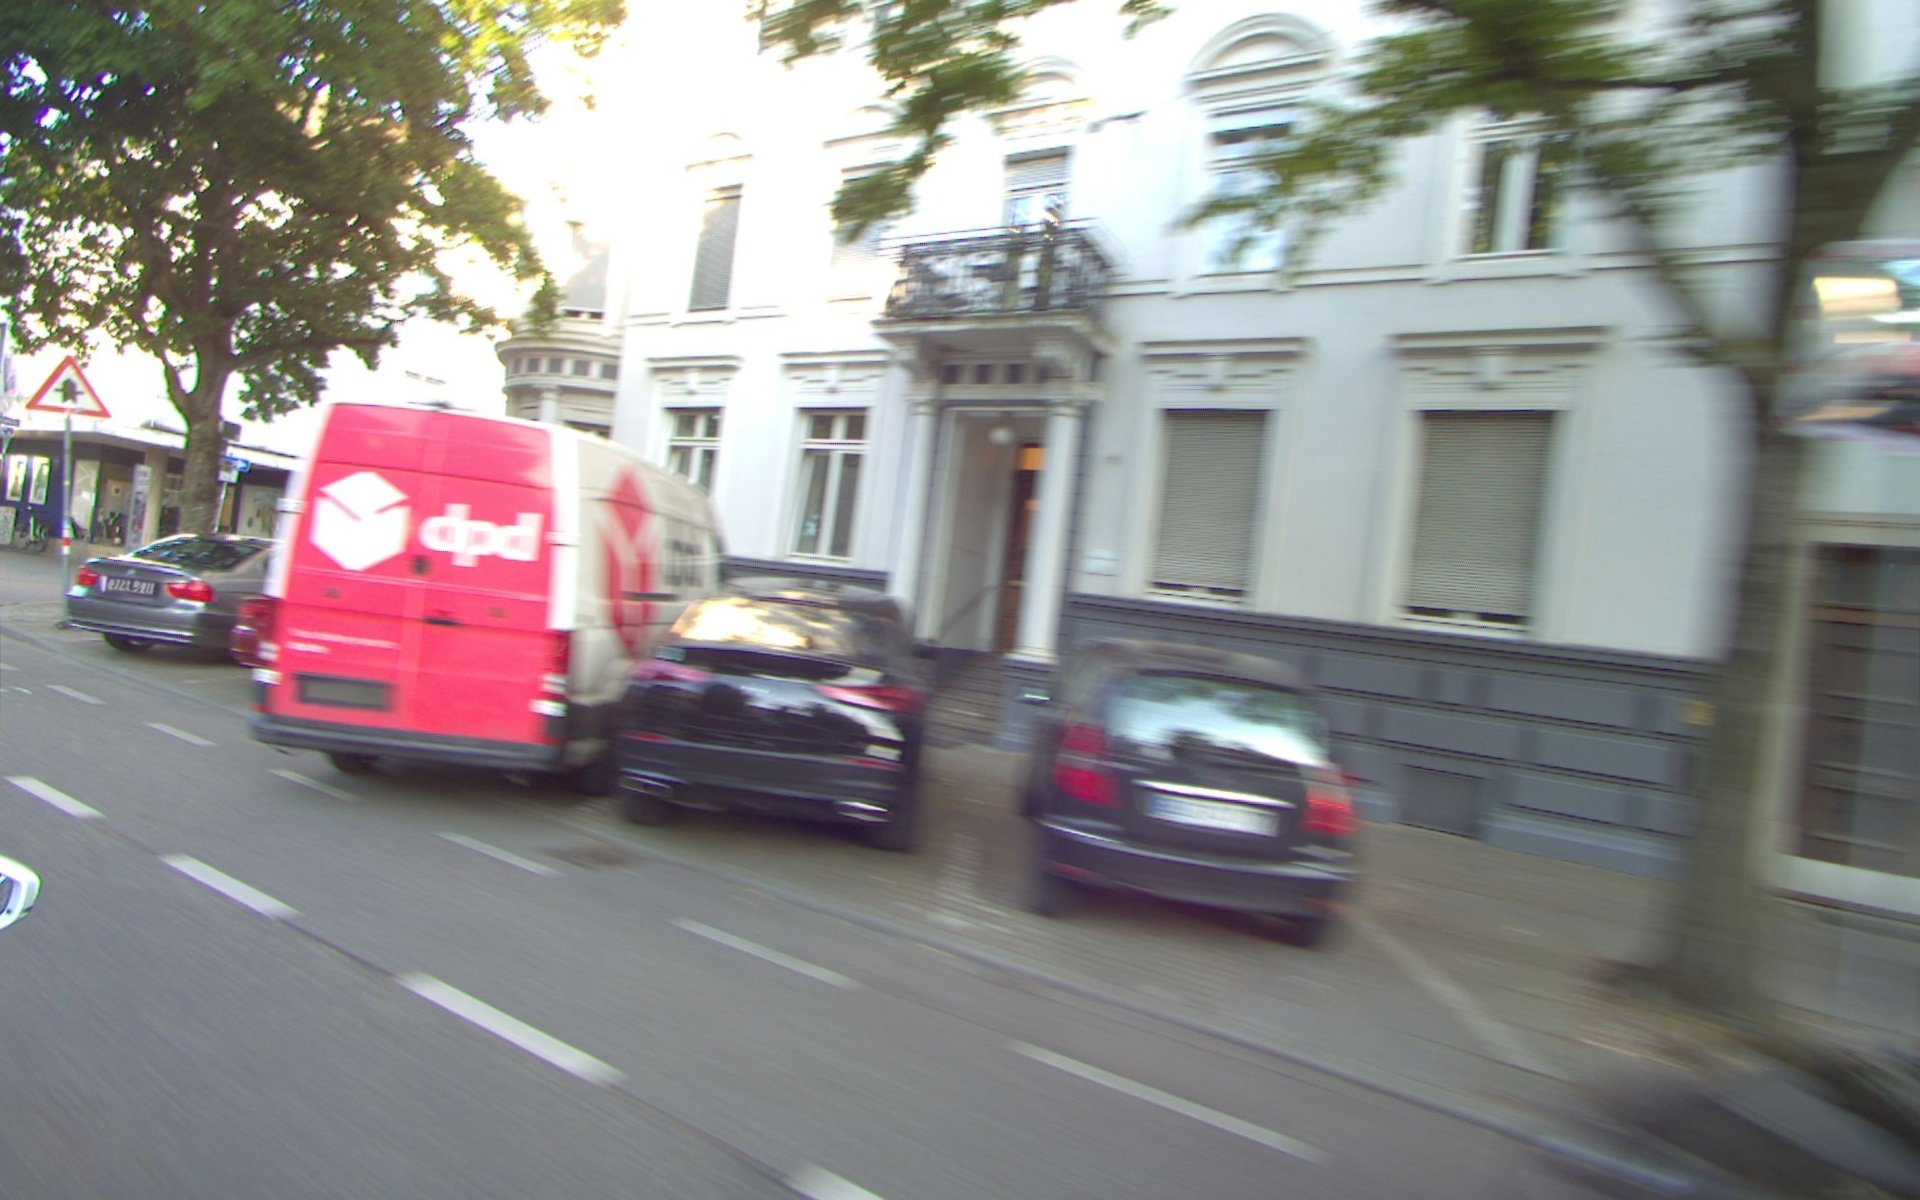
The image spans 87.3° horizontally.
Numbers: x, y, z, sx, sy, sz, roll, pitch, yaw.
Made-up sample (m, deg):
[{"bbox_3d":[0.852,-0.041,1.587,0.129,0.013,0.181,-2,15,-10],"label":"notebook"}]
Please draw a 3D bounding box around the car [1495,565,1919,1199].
[{"bbox_3d":[2.809,1.114,0.876,4.099,1.657,1.842,7,-5,31],"label":"car"}]

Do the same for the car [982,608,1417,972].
[{"bbox_3d":[1.273,1.030,7.616,1.861,1.621,5.027,7,-1,-1],"label":"car"}]

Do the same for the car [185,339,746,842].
[{"bbox_3d":[-3.518,0.013,8.799,2.133,2.726,5.639,7,-1,-4],"label":"car"}]

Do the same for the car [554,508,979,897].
[{"bbox_3d":[-1.246,0.636,8.424,2.133,1.917,5.639,7,-1,-4],"label":"car"}]

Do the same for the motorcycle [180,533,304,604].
[{"bbox_3d":[-17.560,-0.751,24.636,1.271,1.421,2.092,5,-2,38],"label":"motorcycle"}]

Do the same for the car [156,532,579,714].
[{"bbox_3d":[-6.285,0.214,11.439,1.950,1.463,4.406,6,0,3],"label":"car"}]

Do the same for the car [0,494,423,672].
[{"bbox_3d":[-8.659,-0.206,12.269,1.829,1.532,4.602,7,1,-4],"label":"car"}]

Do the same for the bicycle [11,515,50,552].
[{"bbox_3d":[-25.784,-1.848,27.898,1.303,0.894,0.341,7,2,28],"label":"bicycle"}]
